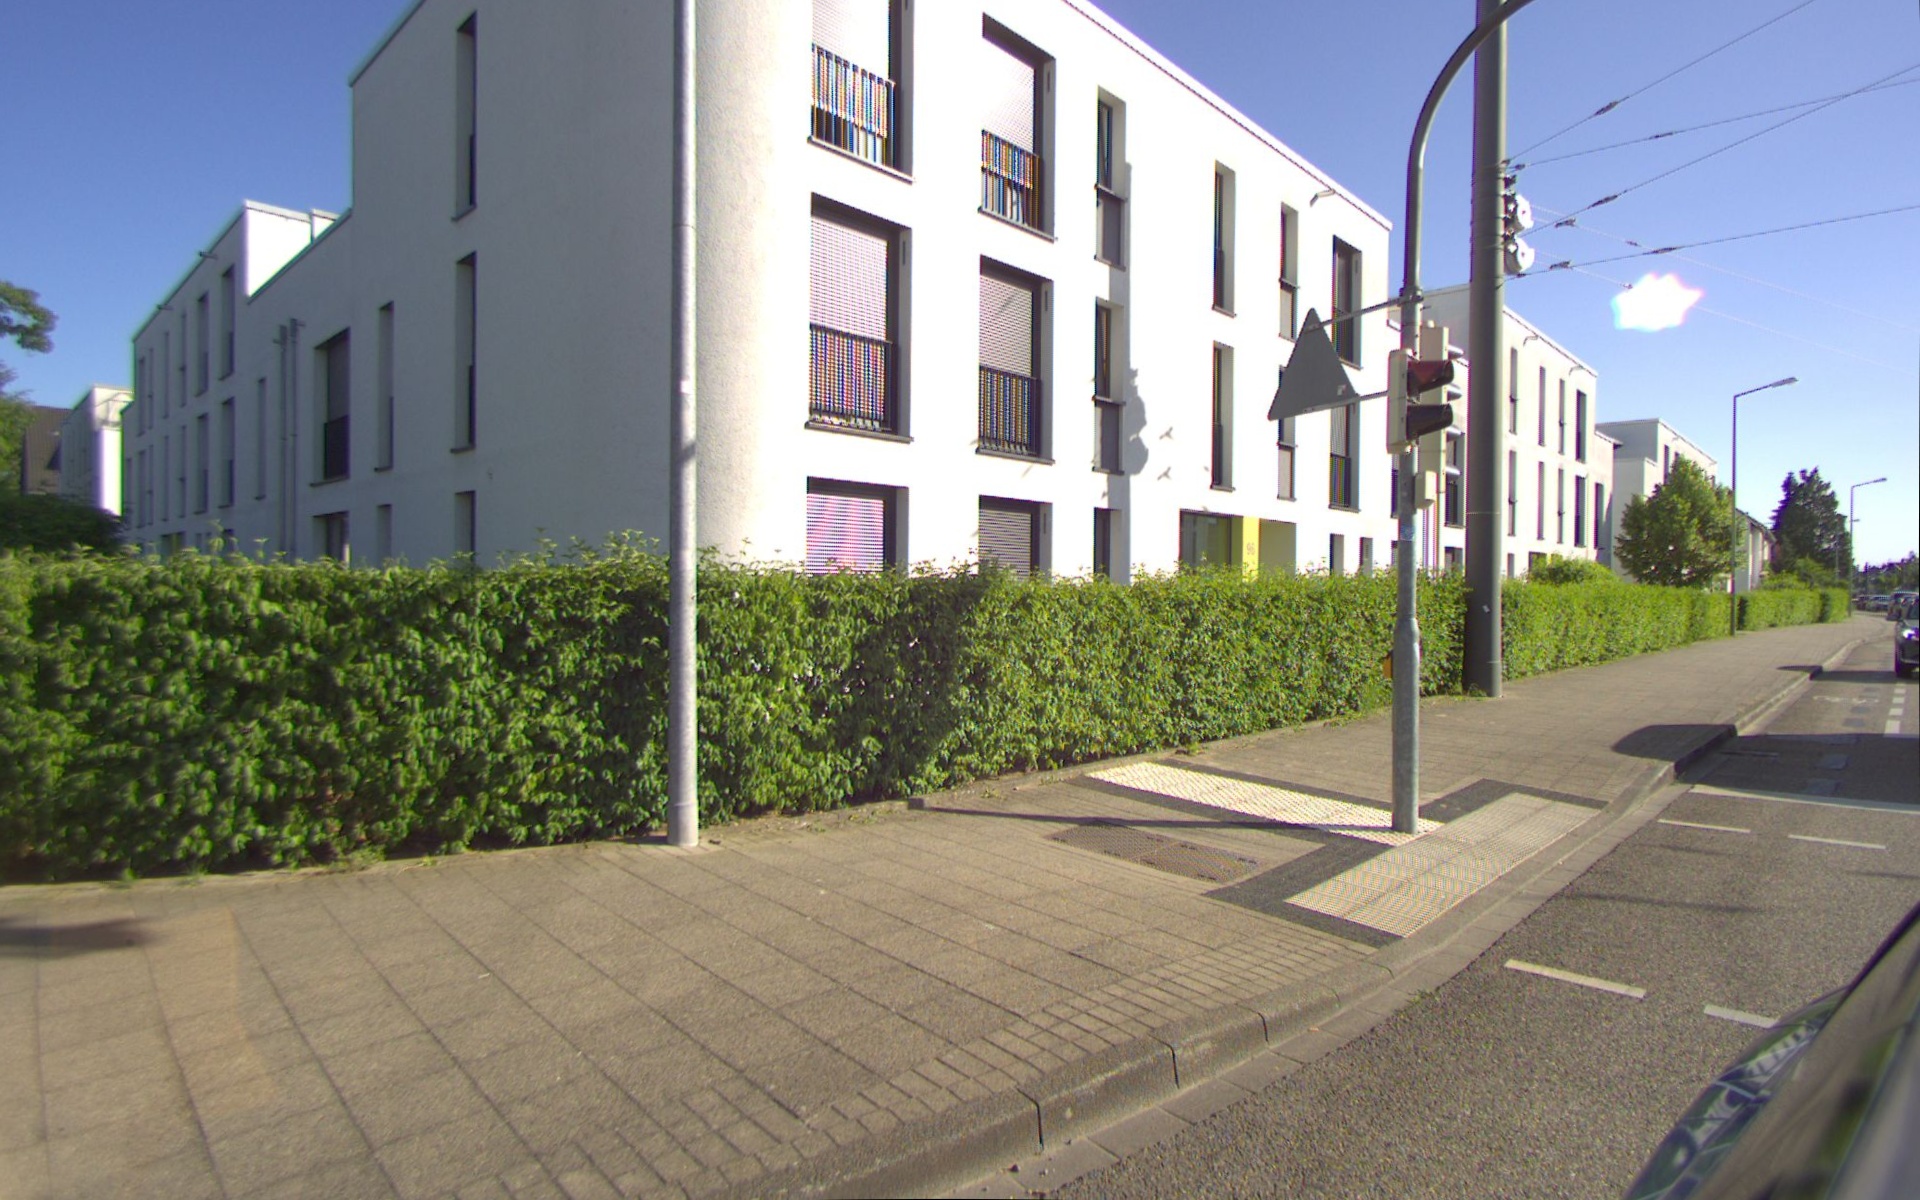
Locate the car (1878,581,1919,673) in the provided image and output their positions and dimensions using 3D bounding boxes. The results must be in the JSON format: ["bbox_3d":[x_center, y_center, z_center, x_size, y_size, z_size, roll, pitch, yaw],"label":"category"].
[{"bbox_3d":[19.556,0.463,19.915,1.990,1.694,4.345,-1,0,40],"label":"car"}]

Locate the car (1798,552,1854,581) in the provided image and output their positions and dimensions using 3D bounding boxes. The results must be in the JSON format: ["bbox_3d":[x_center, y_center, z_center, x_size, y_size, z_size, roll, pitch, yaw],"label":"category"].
[{"bbox_3d":[74.977,-2.851,87.545,6.074,2.376,3.176,-1,0,-45],"label":"car"}]
